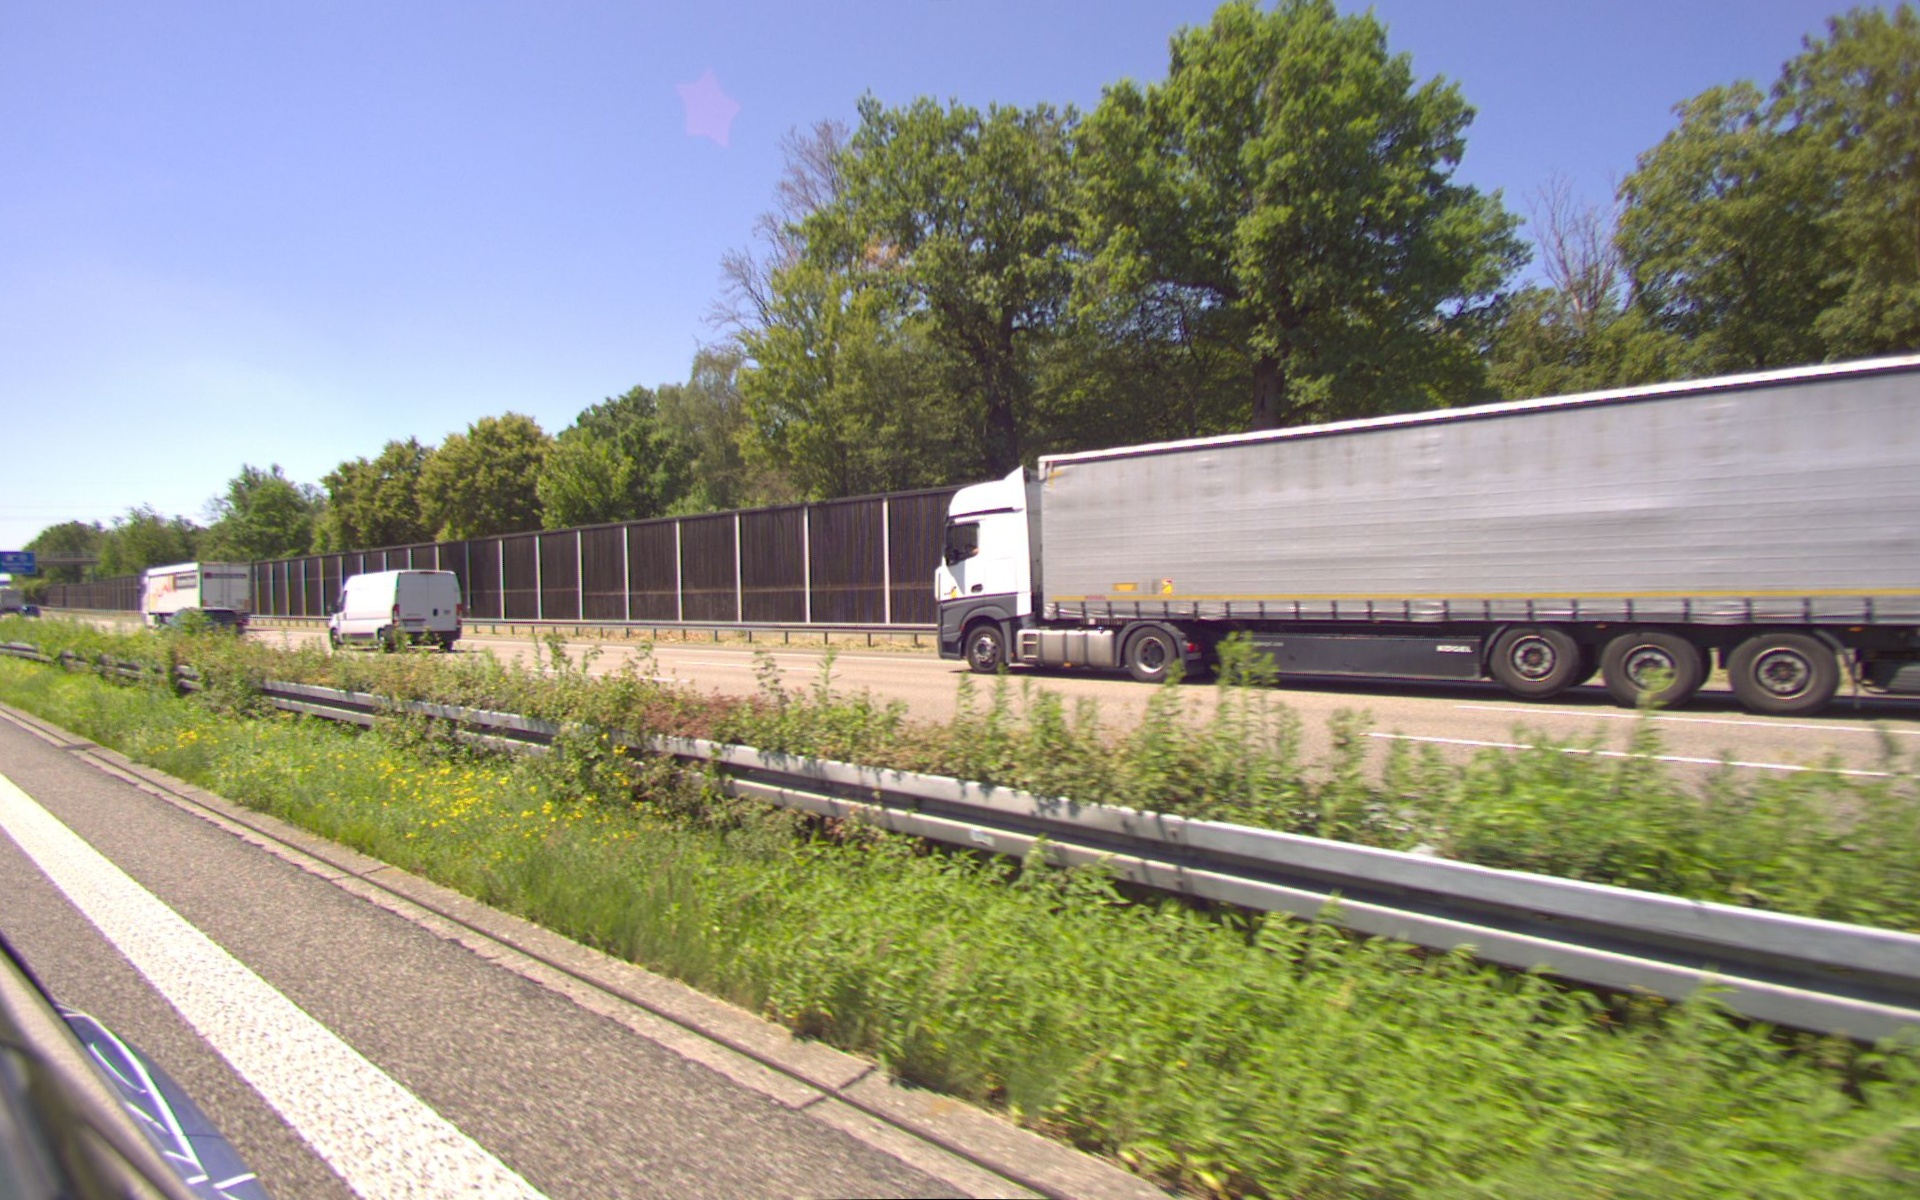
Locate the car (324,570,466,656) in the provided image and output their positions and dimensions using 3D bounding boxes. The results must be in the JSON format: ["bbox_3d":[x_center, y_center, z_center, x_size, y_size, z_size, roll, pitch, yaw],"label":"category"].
[{"bbox_3d":[-18.027,0.429,32.177,5.703,2.527,2.109,-1,-1,41],"label":"car"}]

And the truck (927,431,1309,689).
[{"bbox_3d":[2.799,-0.592,19.172,6.591,4.060,2.922,-1,0,40],"label":"truck"}]

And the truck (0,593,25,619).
[{"bbox_3d":[-138.288,0.896,146.987,11.198,3.763,2.629,-1,0,42],"label":"truck"}]

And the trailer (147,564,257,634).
[{"bbox_3d":[-47.922,0.002,63.765,13.003,4.060,3.059,-1,0,42],"label":"trailer"}]

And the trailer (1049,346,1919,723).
[{"bbox_3d":[7.824,-0.657,14.918,13.796,4.060,2.932,-1,0,40],"label":"trailer"}]

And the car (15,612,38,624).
[{"bbox_3d":[-113.130,2.187,122.673,4.000,1.458,1.779,-1,0,43],"label":"car"}]

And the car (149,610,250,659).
[{"bbox_3d":[-24.750,1.090,32.908,3.997,1.458,1.781,-1,0,40],"label":"car"}]

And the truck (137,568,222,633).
[{"bbox_3d":[-52.238,0.070,67.646,7.963,4.060,3.079,-1,0,42],"label":"truck"}]
